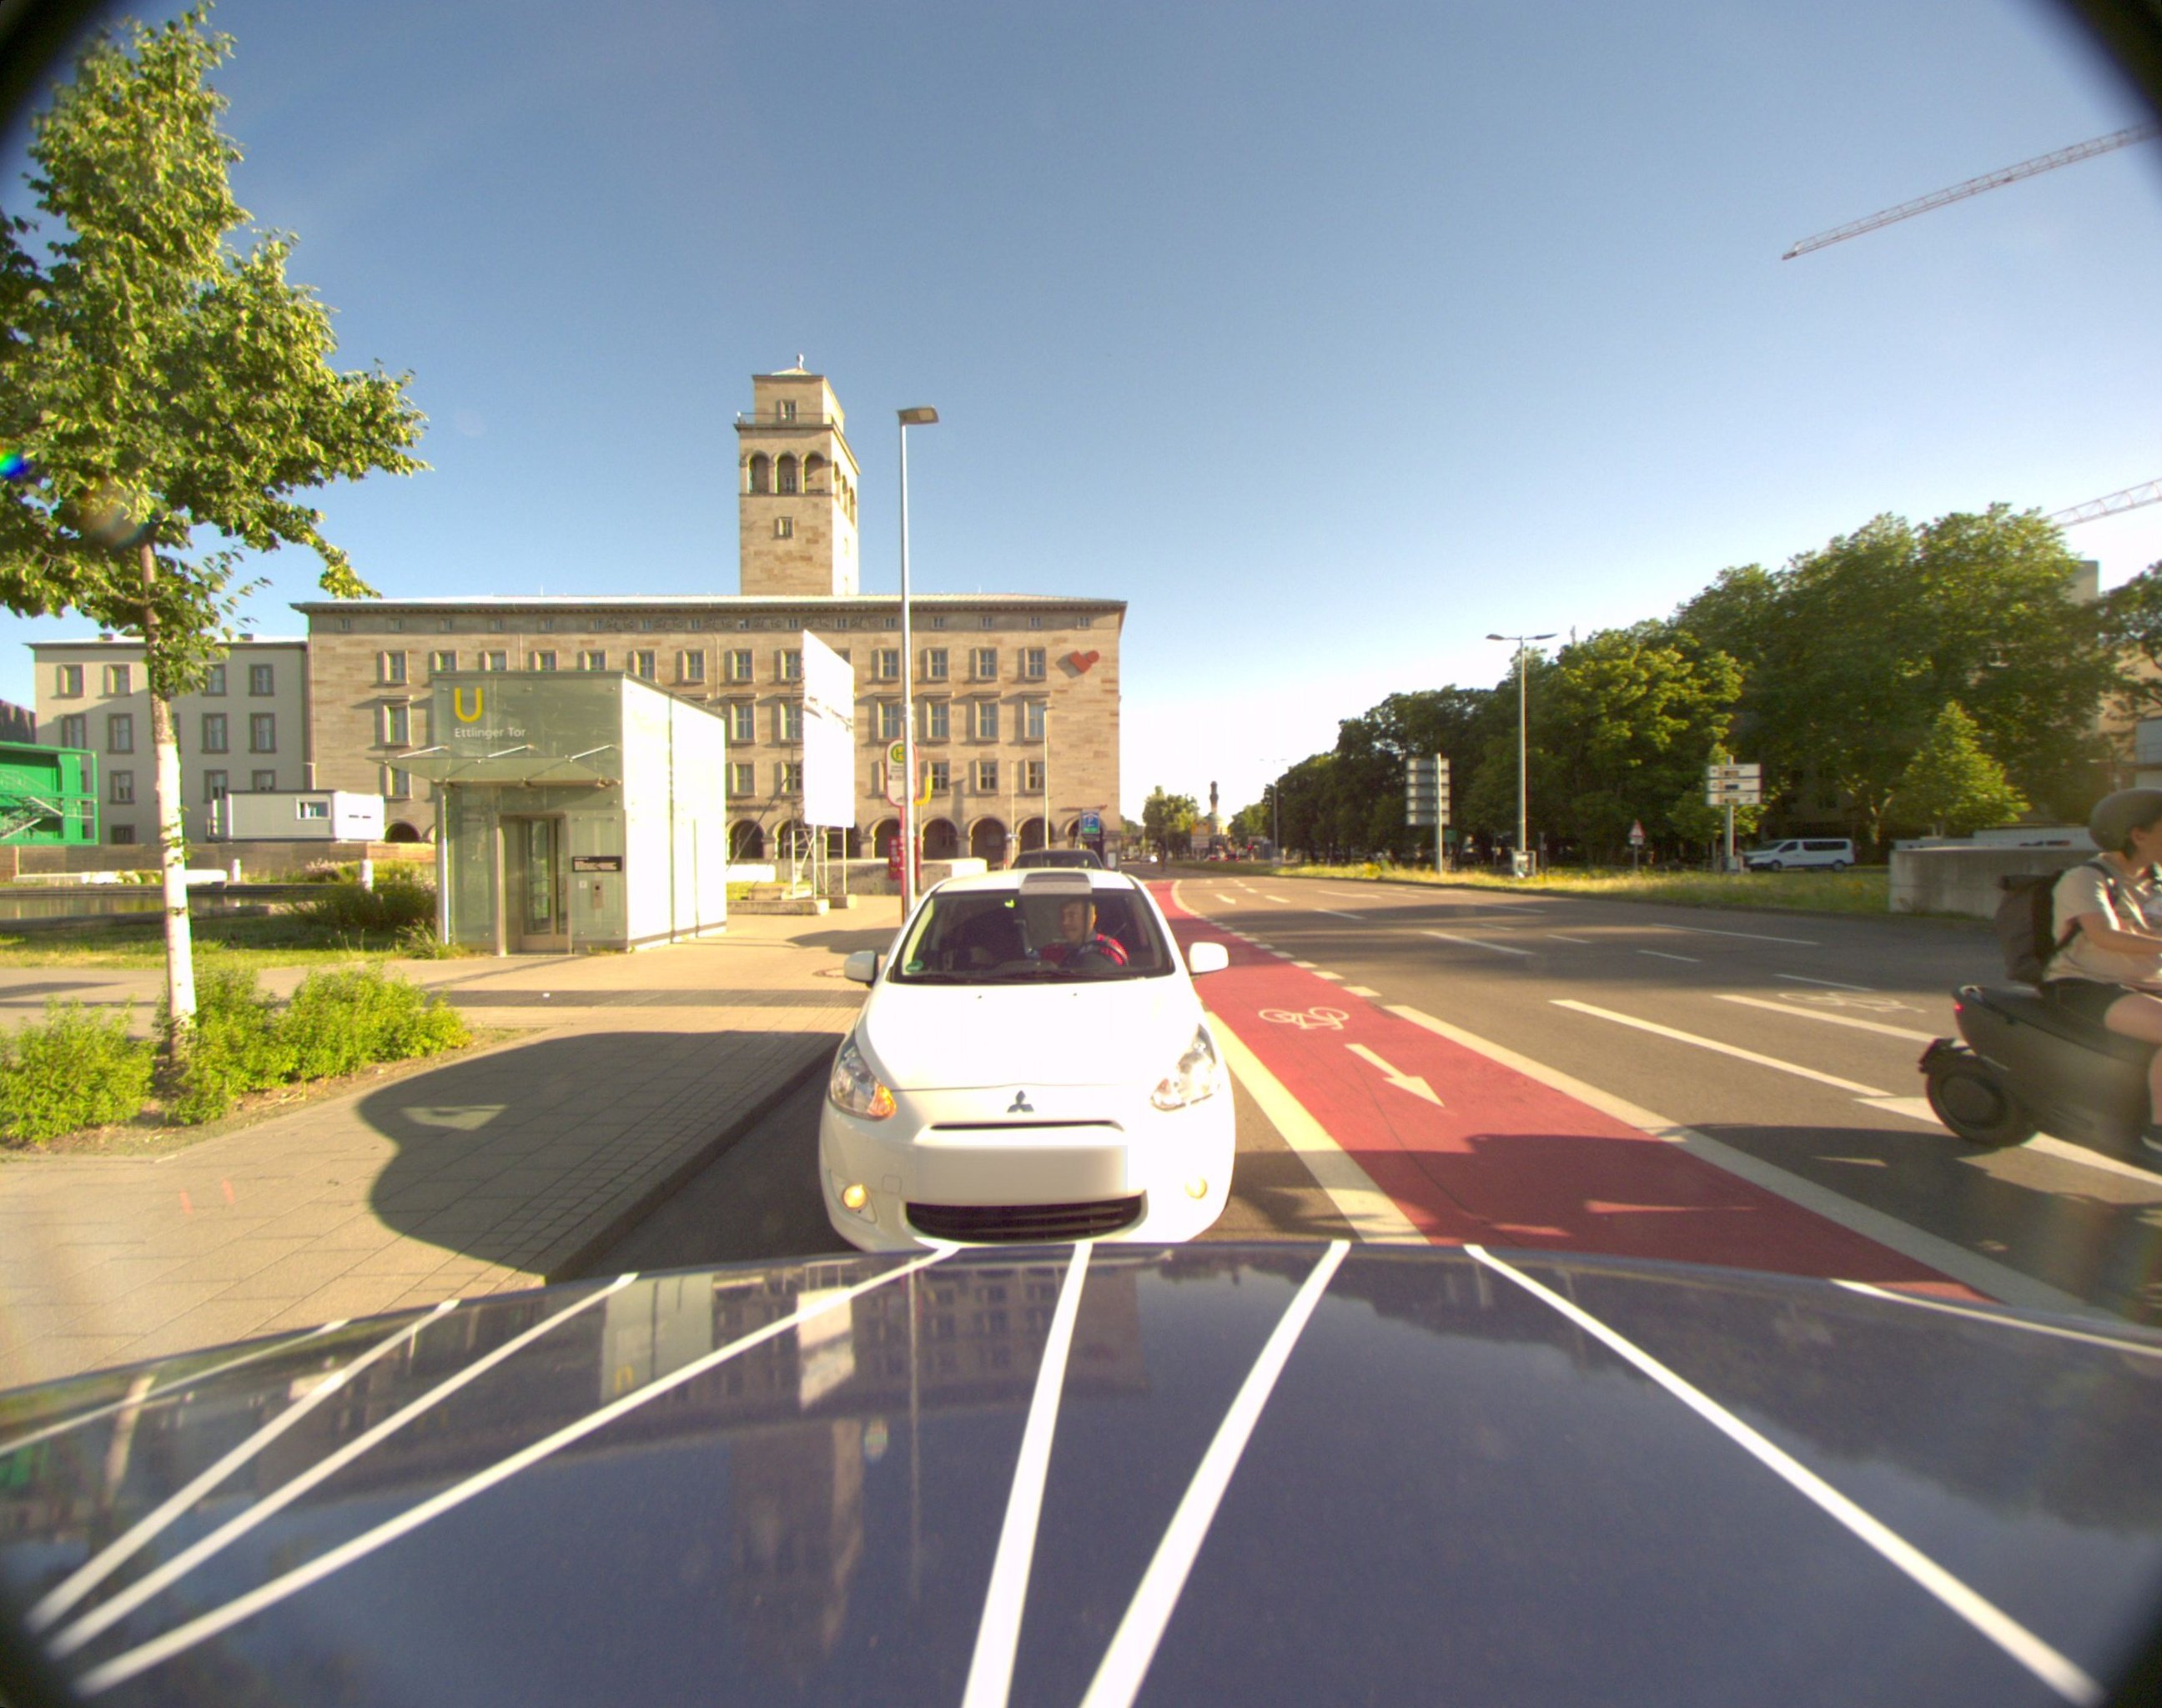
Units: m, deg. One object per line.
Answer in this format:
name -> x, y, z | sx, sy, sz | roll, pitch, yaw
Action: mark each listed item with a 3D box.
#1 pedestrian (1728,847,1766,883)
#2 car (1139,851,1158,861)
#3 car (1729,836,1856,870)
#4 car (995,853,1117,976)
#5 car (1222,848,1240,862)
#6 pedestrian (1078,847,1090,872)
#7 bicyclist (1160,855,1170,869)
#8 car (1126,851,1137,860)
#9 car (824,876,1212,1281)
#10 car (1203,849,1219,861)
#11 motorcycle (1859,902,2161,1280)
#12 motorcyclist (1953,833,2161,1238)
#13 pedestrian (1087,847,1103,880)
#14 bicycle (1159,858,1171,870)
pedestrian -> 33.980, 0.548, 38.784 | 0.989, 1.821, 1.019 | -2, 1, -3
car -> 12.626, 0.396, 141.704 | 1.853, 1.677, 3.992 | -3, 1, -23
car -> 42.138, -0.050, 45.110 | 5.516, 1.924, 2.065 | -1, 1, 2
car -> -0.369, 0.840, 12.520 | 1.642, 1.653, 3.849 | -2, 0, -1
car -> 21.591, 0.134, 109.648 | 1.819, 1.817, 3.999 | -2, 1, 1
pedestrian -> 0.338, 0.533, 77.297 | 1.122, 2.524, 1.055 | -2, 1, 1
bicyclist -> 8.111, 0.735, 73.321 | 0.854, 1.340, 0.829 | -2, 1, 1
car -> 11.786, 0.345, 176.838 | 1.877, 1.827, 4.584 | -2, 1, -3
car -> -0.229, 0.954, 4.840 | 1.496, 1.477, 3.604 | -2, 0, 1
car -> 20.593, 0.124, 120.441 | 1.747, 1.778, 3.947 | -2, 1, 1
motorcycle -> 4.287, 0.899, 2.886 | 0.724, 1.286, 1.884 | -2, 0, 1
motorcyclist -> 4.280, 0.655, 2.939 | 0.727, 1.466, 0.917 | -2, 0, 1
pedestrian -> 1.097, 0.706, 59.324 | 1.122, 2.524, 1.055 | -2, 1, 1
bicycle -> 8.103, 0.979, 73.202 | 0.854, 1.109, 2.808 | -2, 0, 1
